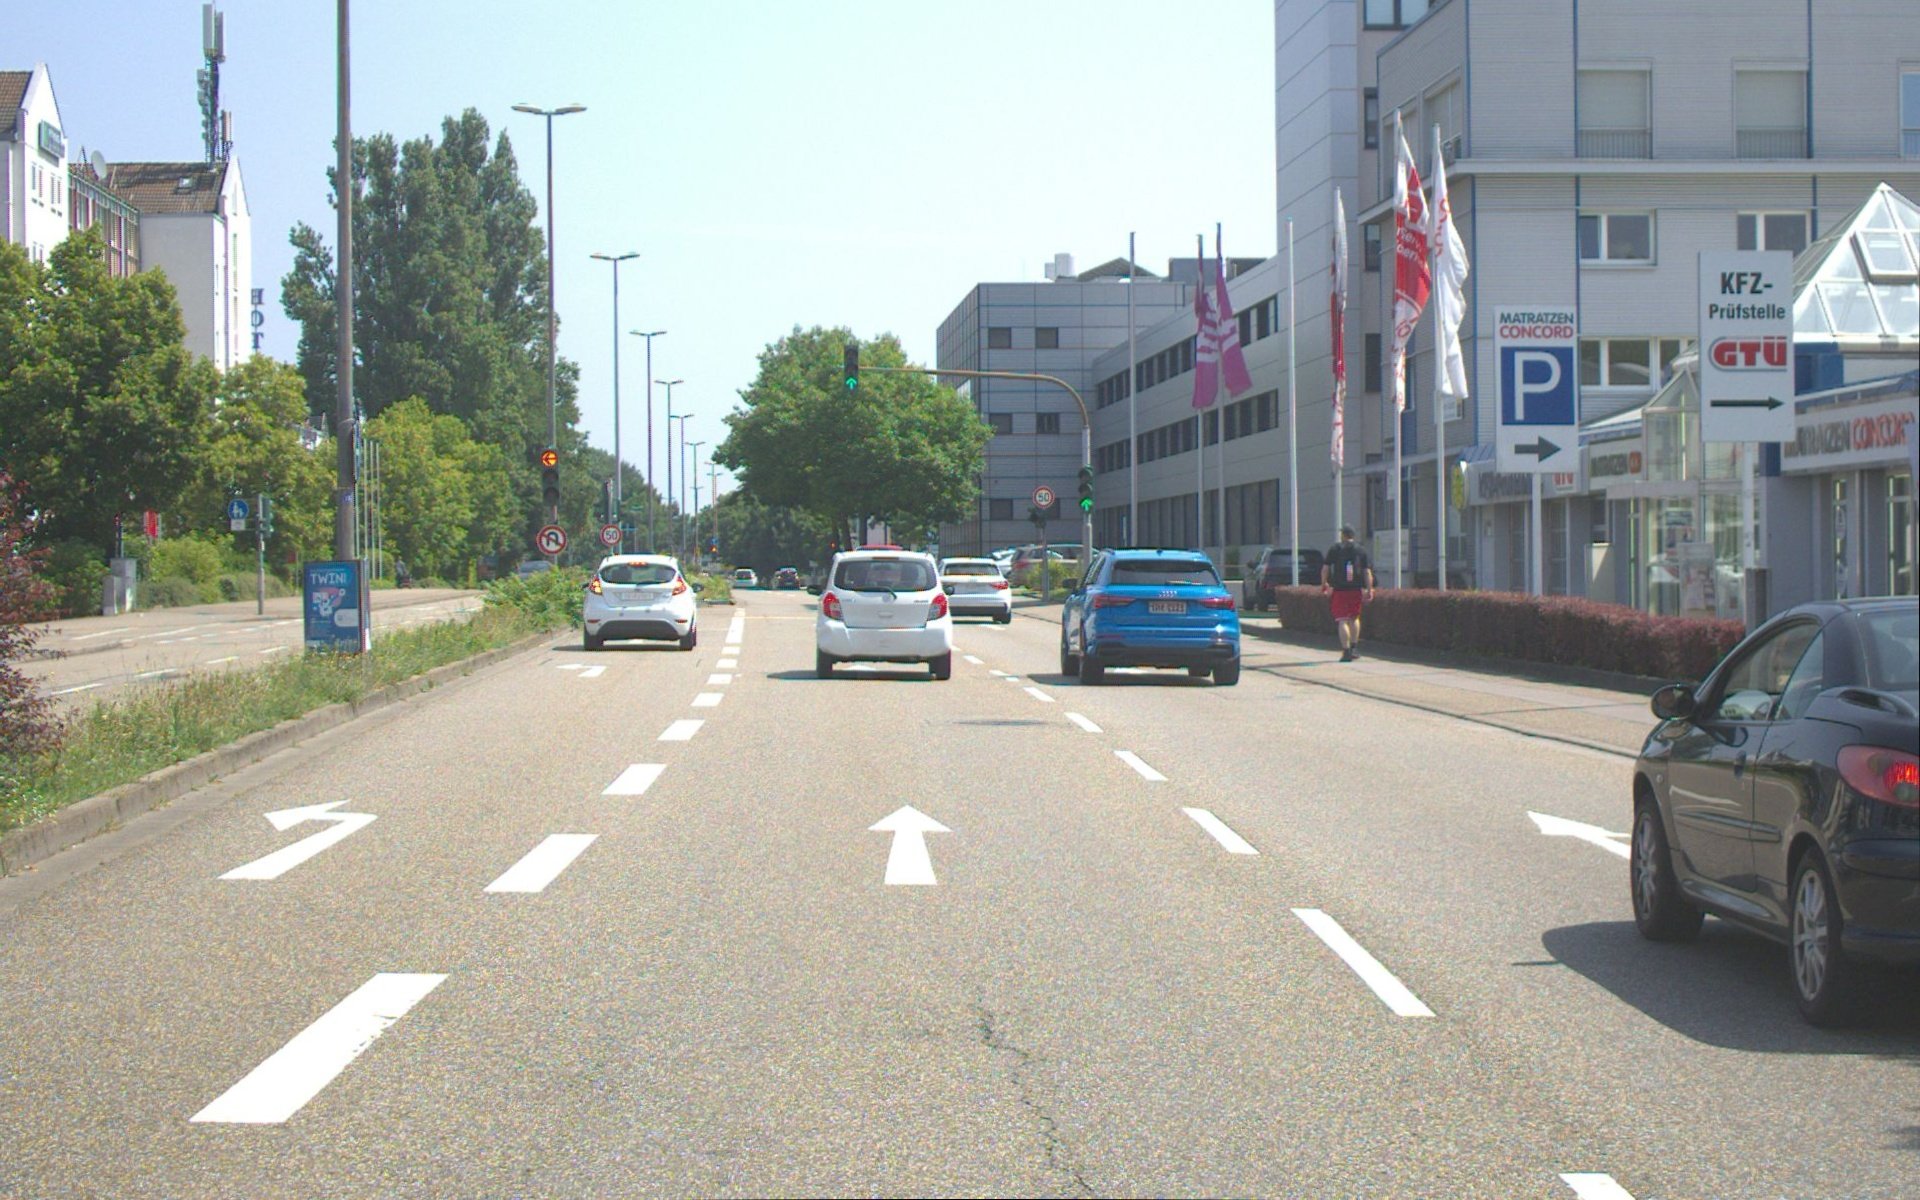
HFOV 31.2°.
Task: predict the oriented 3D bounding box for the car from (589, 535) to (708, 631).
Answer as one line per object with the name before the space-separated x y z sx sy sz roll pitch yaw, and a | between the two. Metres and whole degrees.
car | -4.812 -0.292 53.449 1.688 1.429 3.712 -1 1 -3

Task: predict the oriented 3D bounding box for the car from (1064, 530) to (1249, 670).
car | 2.277 -0.037 40.697 1.827 1.575 3.606 -1 1 -2

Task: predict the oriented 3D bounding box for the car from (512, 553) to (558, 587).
car | -19.131 -1.358 154.934 1.993 1.481 4.502 -1 1 -6

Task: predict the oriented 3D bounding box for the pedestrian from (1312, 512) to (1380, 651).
pedestrian | 5.206 -0.256 46.426 0.785 1.840 0.936 -1 1 -1

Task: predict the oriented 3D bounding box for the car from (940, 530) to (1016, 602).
car | 0.368 -0.755 74.381 1.559 1.515 3.606 -1 1 -1

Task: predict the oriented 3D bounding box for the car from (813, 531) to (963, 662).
car | -0.915 -0.080 42.143 1.748 1.515 3.746 0 1 -2

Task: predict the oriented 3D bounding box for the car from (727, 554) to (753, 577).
car | -16.507 -2.589 257.974 1.819 1.656 4.001 -1 1 -4

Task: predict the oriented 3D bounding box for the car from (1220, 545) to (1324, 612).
car | 7.421 -0.544 82.181 1.843 1.526 4.197 1 1 -3

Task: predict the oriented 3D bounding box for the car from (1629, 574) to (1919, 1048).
car | 3.490 0.616 11.978 1.627 1.359 3.605 0 1 0

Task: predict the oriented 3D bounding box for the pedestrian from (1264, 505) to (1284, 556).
pedestrian | 9.972 -2.204 109.176 0.593 1.629 0.523 -1 1 5
